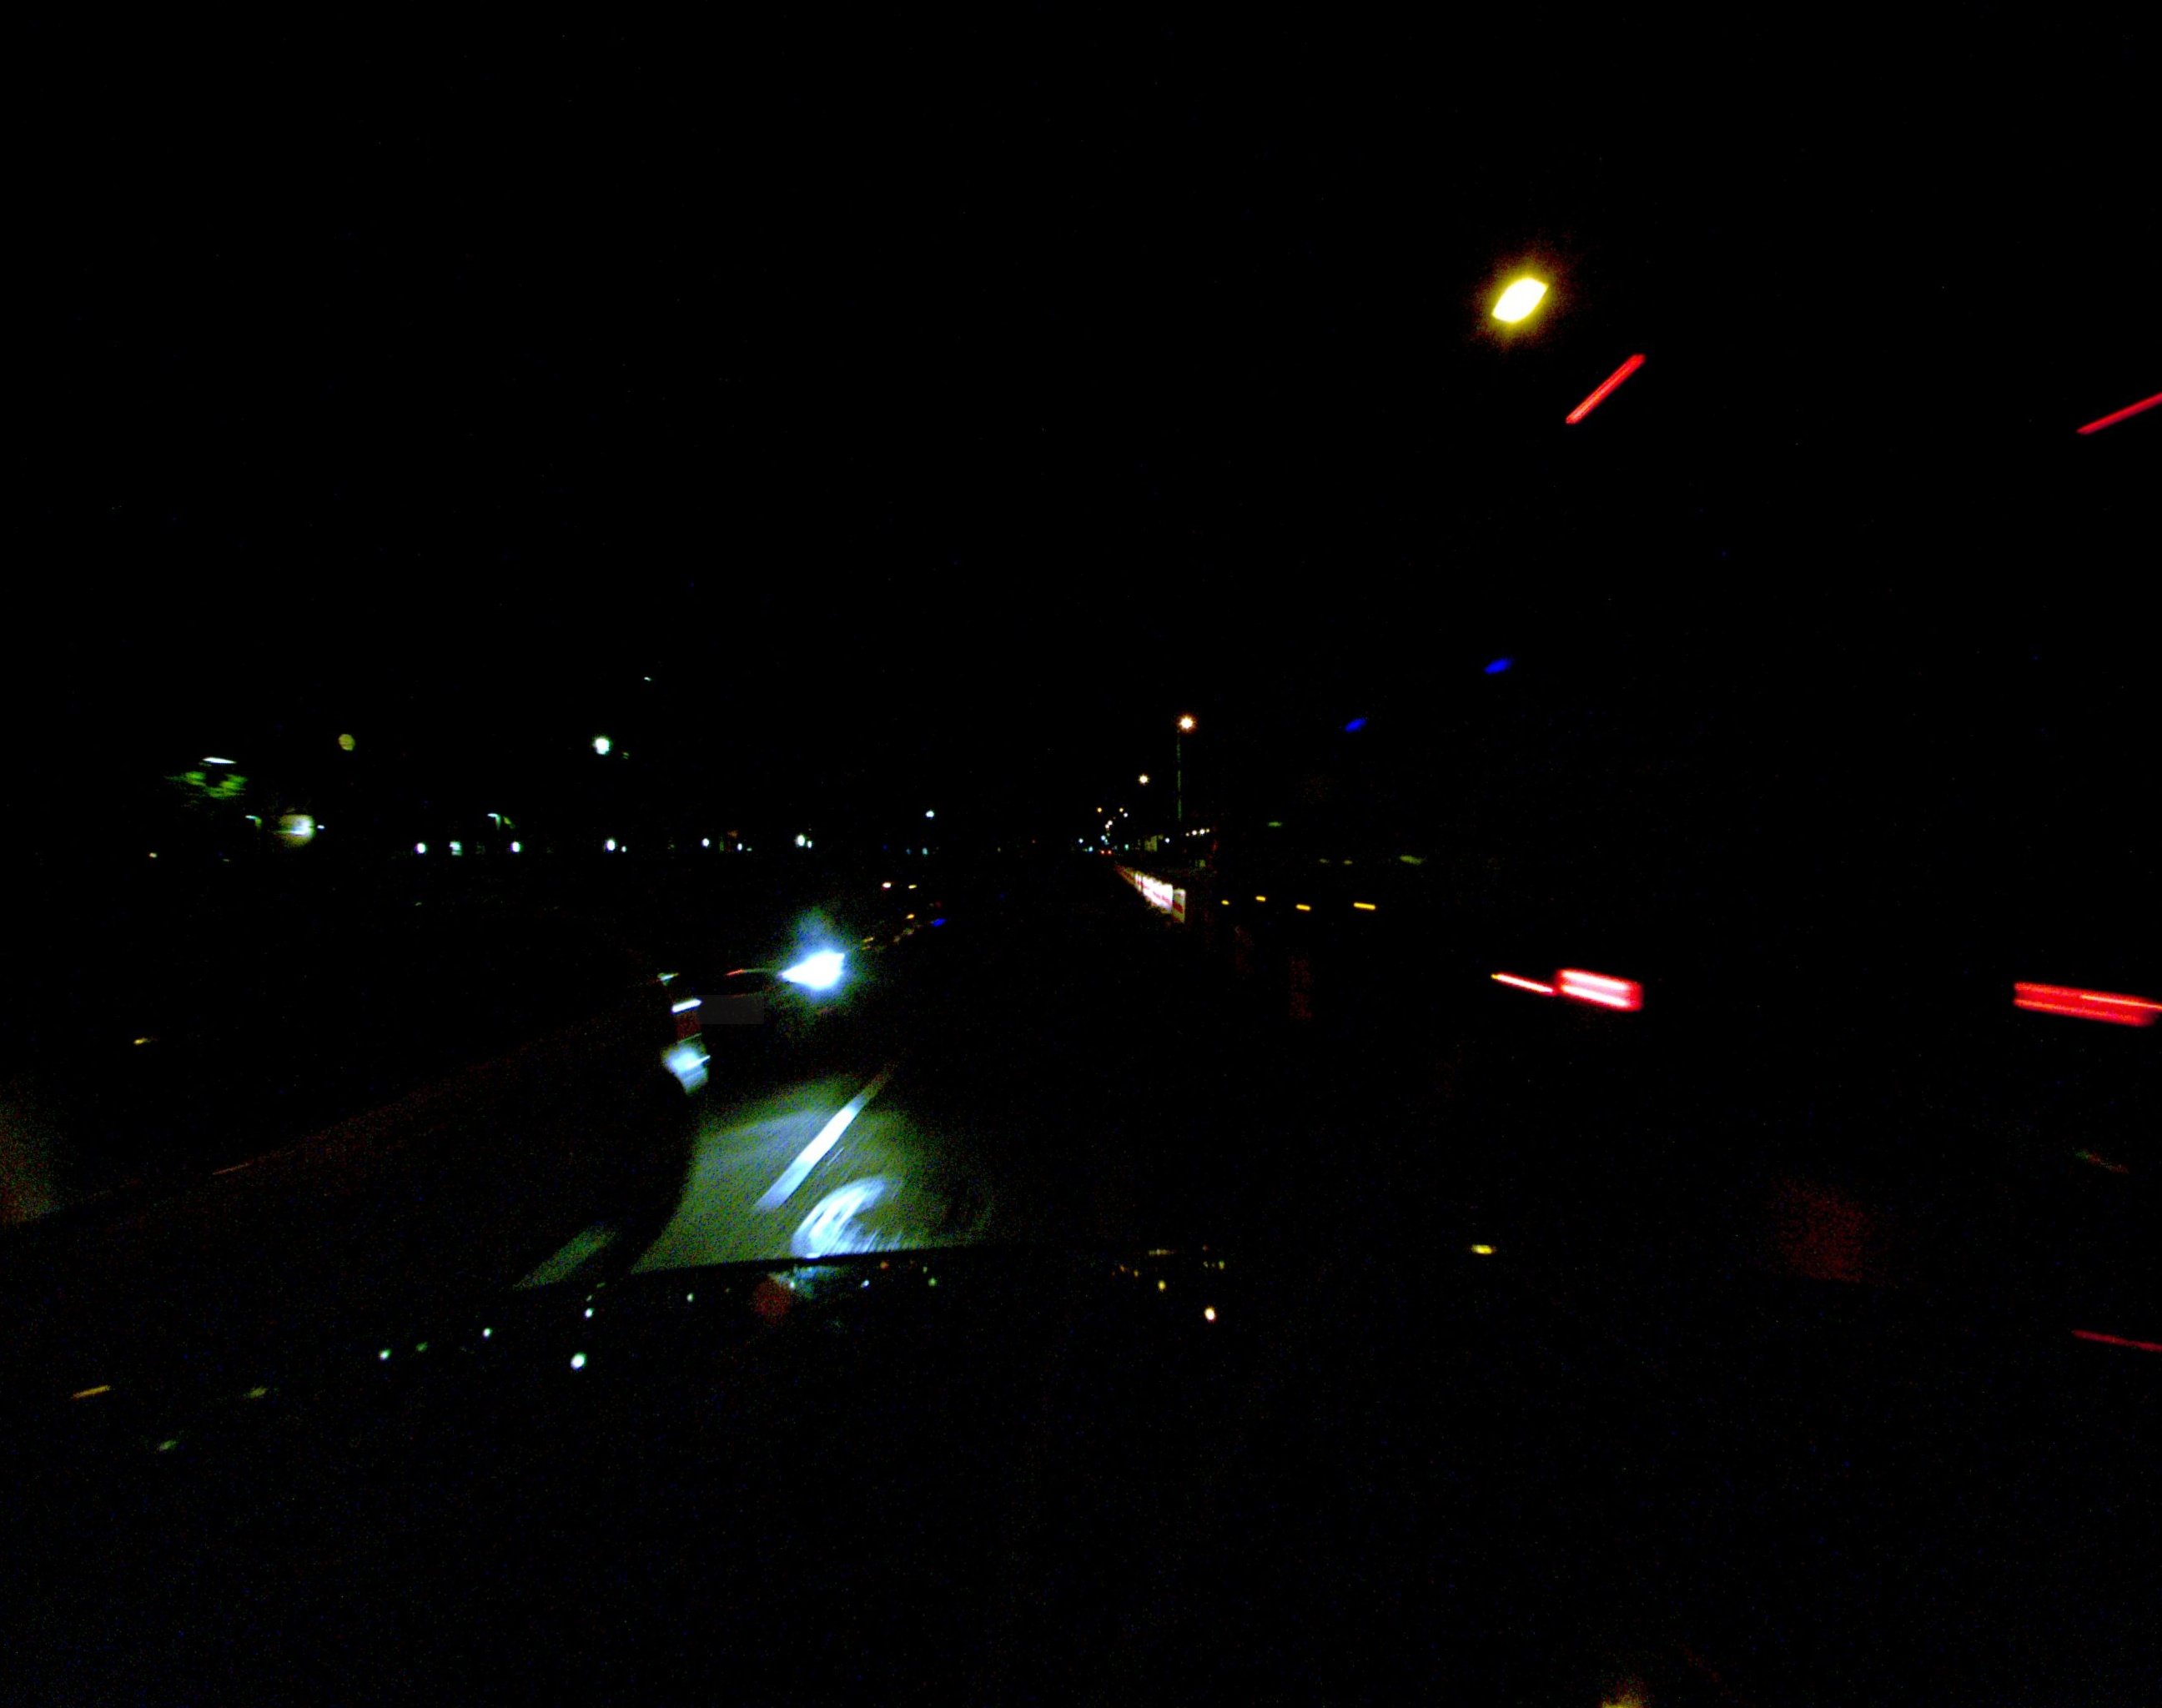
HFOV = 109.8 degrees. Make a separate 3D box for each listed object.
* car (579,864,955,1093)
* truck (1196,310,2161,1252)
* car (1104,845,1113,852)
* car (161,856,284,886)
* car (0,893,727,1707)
[{"bbox_3d":[-2.723,0.958,7.996,1.809,1.485,4.729,-3,1,1],"label":"car"},{"bbox_3d":[3.355,-0.321,8.050,2.762,3.696,10.111,0,1,0],"label":"truck"},{"bbox_3d":[5.278,-1.103,146.842,1.671,1.420,3.999,1,1,0],"label":"car"},{"bbox_3d":[-48.275,0.921,42.884,1.998,1.499,4.301,0,1,0],"label":"car"},{"bbox_3d":[-2.651,0.997,1.806,1.641,1.486,3.999,-3,1,1],"label":"car"}]
